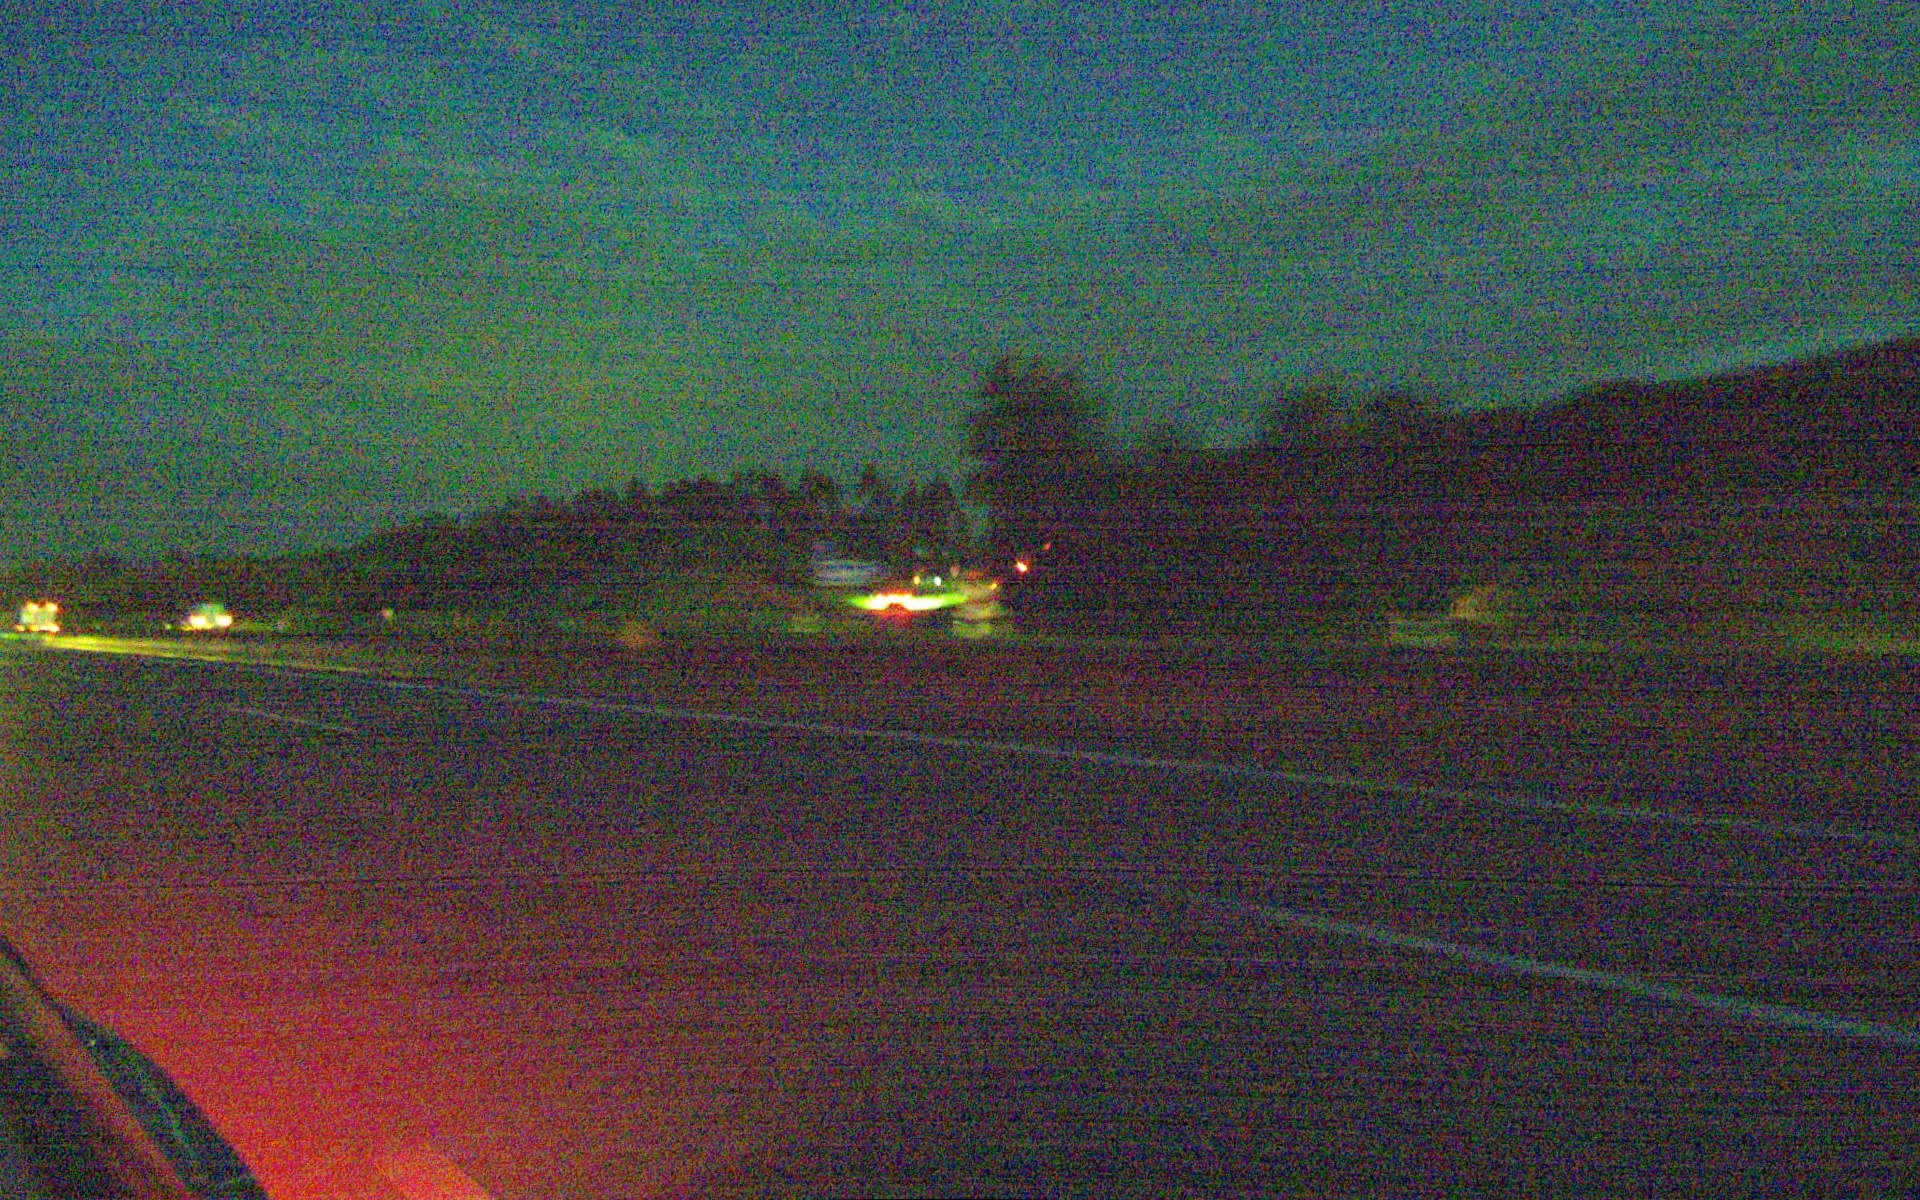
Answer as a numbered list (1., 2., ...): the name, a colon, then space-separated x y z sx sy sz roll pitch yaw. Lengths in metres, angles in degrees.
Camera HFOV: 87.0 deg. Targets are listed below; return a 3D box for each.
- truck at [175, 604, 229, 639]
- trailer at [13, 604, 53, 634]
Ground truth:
1. truck: -65.471 1.855 87.386 7.622 2.746 2.174 -2 2 42
2. trailer: -147.084 3.045 160.566 14.020 4.467 3.290 -2 0 42
